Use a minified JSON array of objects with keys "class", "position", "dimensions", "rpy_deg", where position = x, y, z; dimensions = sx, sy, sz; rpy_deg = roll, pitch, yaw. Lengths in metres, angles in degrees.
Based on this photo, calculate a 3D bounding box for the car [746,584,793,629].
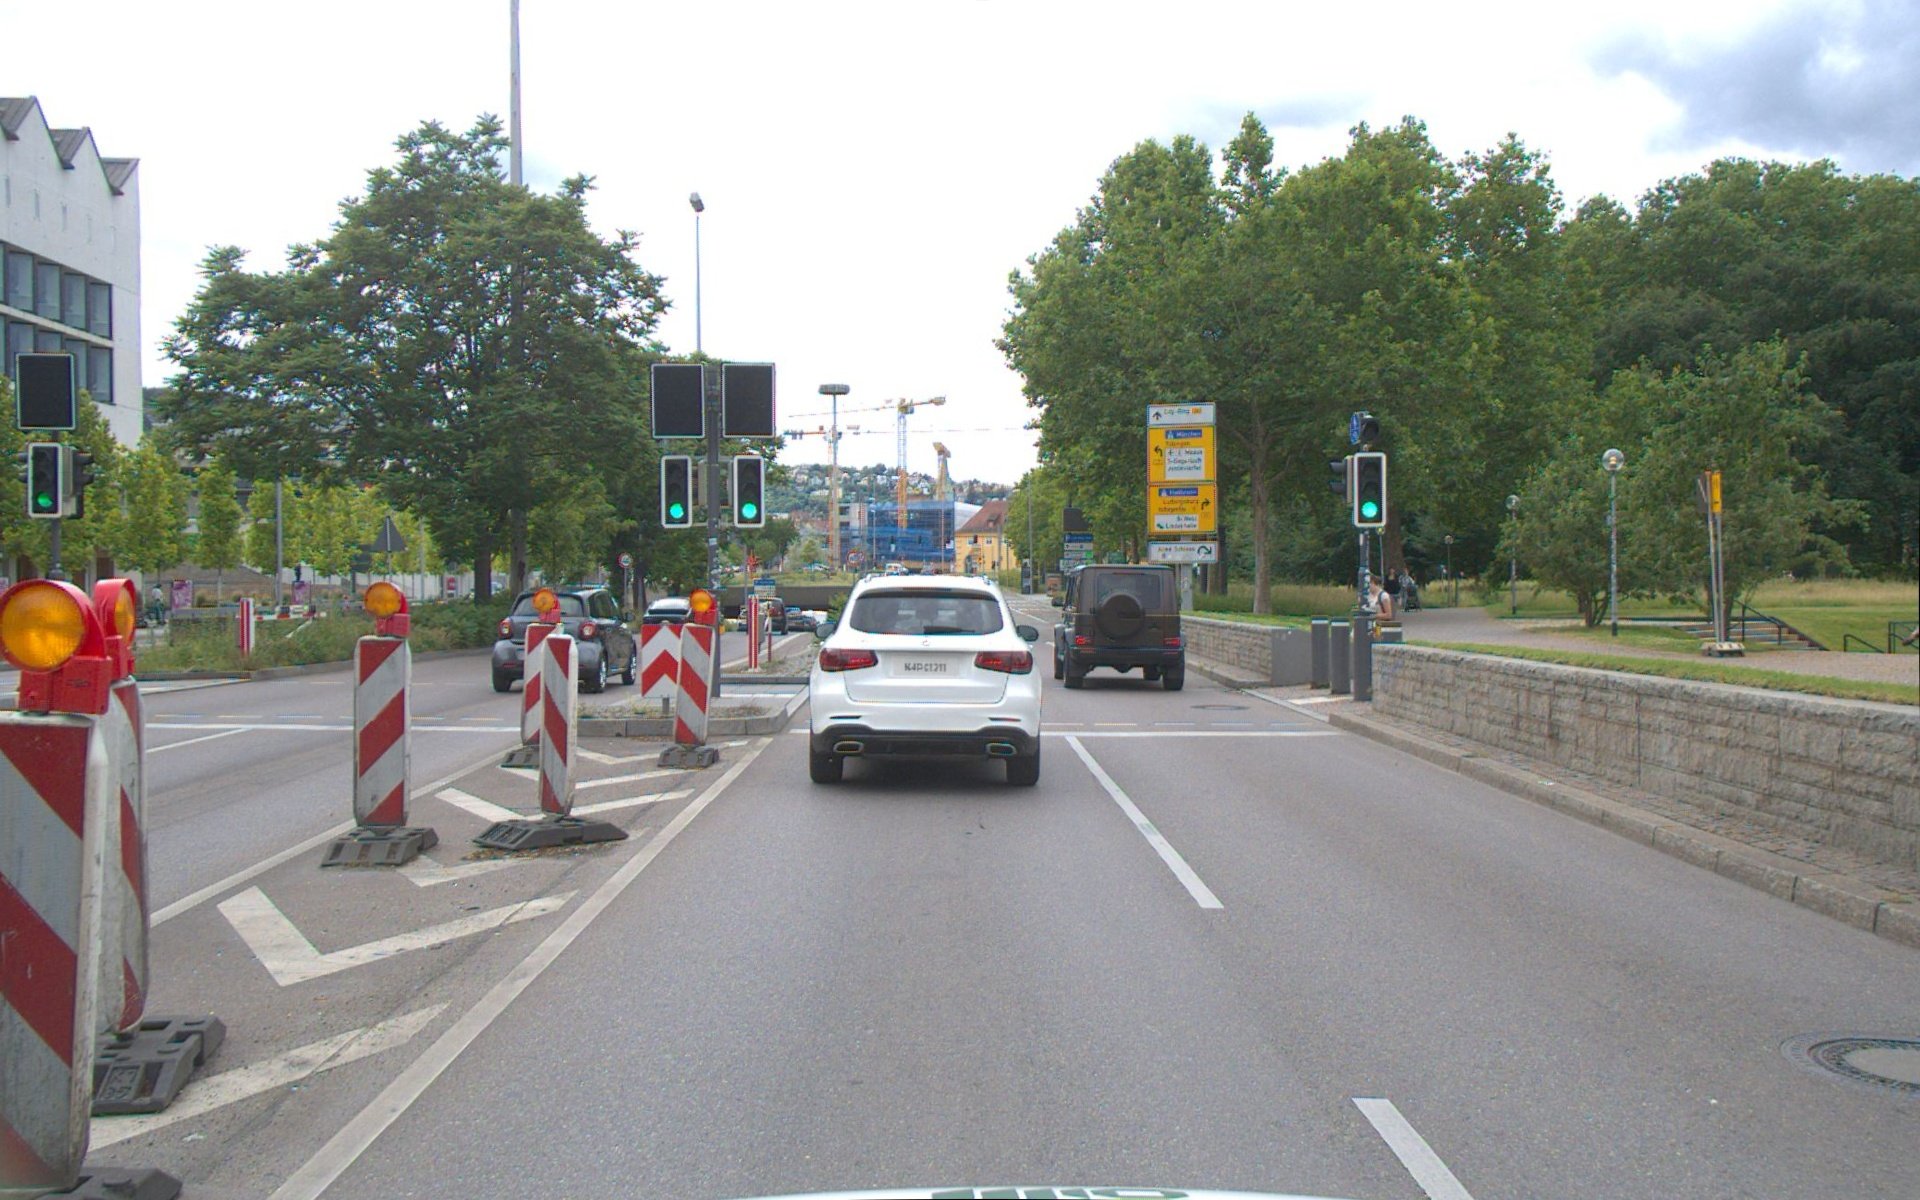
[{"class":"car","position":[-7.760,0.243,67.560],"dimensions":[1.685,1.708,3.997],"rpy_deg":[2,0,-4]}]

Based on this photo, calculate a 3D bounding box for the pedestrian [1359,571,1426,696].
[{"class":"pedestrian","position":[6.001,0.462,22.977],"dimensions":[0.684,1.684,0.683],"rpy_deg":[2,-1,-3]}]

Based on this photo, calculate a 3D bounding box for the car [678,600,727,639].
[{"class":"car","position":[-11.218,0.837,72.175],"dimensions":[1.718,1.580,3.997],"rpy_deg":[2,0,-4]}]

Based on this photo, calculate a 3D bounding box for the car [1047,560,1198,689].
[{"class":"car","position":[2.626,0.393,27.871],"dimensions":[1.937,1.926,4.706],"rpy_deg":[2,0,-1]}]

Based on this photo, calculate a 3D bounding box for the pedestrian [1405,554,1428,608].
[{"class":"pedestrian","position":[17.577,-0.740,63.670],"dimensions":[0.559,2.049,0.932],"rpy_deg":[2,-1,-2]}]

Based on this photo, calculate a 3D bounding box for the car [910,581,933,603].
[{"class":"car","position":[-3.440,-0.722,147.232],"dimensions":[1.954,1.812,3.997],"rpy_deg":[2,-1,-3]}]

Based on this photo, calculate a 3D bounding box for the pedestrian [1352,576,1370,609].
[{"class":"pedestrian","position":[16.810,-0.327,69.379],"dimensions":[0.570,1.348,0.541],"rpy_deg":[2,-1,-2]}]

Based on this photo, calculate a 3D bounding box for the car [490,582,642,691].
[{"class":"car","position":[-6.003,0.538,25.543],"dimensions":[1.595,1.535,3.538],"rpy_deg":[1,0,-3]}]

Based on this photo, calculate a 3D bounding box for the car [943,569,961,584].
[{"class":"car","position":[-0.902,-2.696,188.479],"dimensions":[1.685,1.612,3.997],"rpy_deg":[2,0,-4]}]

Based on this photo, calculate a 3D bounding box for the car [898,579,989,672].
[{"class":"car","position":[-0.368,0.498,32.525],"dimensions":[1.638,1.656,3.998],"rpy_deg":[2,-1,-2]}]

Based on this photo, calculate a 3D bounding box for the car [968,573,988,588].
[{"class":"car","position":[2.144,-2.340,197.981],"dimensions":[1.956,1.646,3.994],"rpy_deg":[2,0,-7]}]

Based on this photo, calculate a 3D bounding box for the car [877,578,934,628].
[{"class":"car","position":[-1.894,0.081,56.508],"dimensions":[1.884,1.630,3.998],"rpy_deg":[1,1,-3]}]

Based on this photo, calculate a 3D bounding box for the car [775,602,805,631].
[{"class":"car","position":[-10.424,0.986,101.436],"dimensions":[1.686,1.612,3.994],"rpy_deg":[2,0,-7]}]

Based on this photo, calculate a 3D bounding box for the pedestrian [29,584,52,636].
[{"class":"pedestrian","position":[-38.032,0.418,68.441],"dimensions":[0.701,2.046,0.734],"rpy_deg":[-1,7,-23]}]

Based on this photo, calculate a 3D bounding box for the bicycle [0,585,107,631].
[{"class":"bicycle","position":[-34.762,0.297,63.306],"dimensions":[3.551,1.713,1.179],"rpy_deg":[-1,1,-13]}]

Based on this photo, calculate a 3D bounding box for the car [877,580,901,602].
[{"class":"car","position":[-6.110,-0.726,142.832],"dimensions":[1.953,1.787,3.999],"rpy_deg":[2,-1,-1]}]

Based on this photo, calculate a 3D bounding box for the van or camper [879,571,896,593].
[{"class":"van or camper","position":[-8.286,-2.029,189.374],"dimensions":[1.884,2.360,3.997],"rpy_deg":[1,-1,-3]}]

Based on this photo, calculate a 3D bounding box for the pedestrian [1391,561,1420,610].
[{"class":"pedestrian","position":[17.567,-0.573,65.218],"dimensions":[0.975,1.868,1.030],"rpy_deg":[2,-1,10]}]

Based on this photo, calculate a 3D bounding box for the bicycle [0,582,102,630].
[{"class":"bicycle","position":[-34.110,0.215,61.677],"dimensions":[3.551,1.713,1.179],"rpy_deg":[-1,1,-13]}]

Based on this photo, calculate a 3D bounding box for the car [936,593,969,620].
[{"class":"car","position":[-0.536,0.421,110.469],"dimensions":[1.954,1.691,3.997],"rpy_deg":[2,0,-3]}]

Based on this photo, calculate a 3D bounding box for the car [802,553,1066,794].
[{"class":"car","position":[-0.294,0.559,14.216],"dimensions":[1.902,1.713,3.997],"rpy_deg":[2,0,-3]}]

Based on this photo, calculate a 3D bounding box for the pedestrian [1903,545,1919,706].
[{"class":"pedestrian","position":[9.763,0.247,16.227],"dimensions":[0.668,1.589,0.909],"rpy_deg":[-1,0,15]}]

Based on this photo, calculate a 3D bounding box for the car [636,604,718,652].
[{"class":"car","position":[-8.553,0.831,50.292],"dimensions":[1.683,1.315,4.001],"rpy_deg":[2,0,1]}]

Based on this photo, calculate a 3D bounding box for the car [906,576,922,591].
[{"class":"car","position":[-5.432,-1.948,195.613],"dimensions":[1.685,1.612,3.997],"rpy_deg":[2,0,-4]}]

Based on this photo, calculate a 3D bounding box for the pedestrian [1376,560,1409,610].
[{"class":"pedestrian","position":[15.717,-0.543,60.093],"dimensions":[0.878,1.763,0.968],"rpy_deg":[2,0,-2]}]
